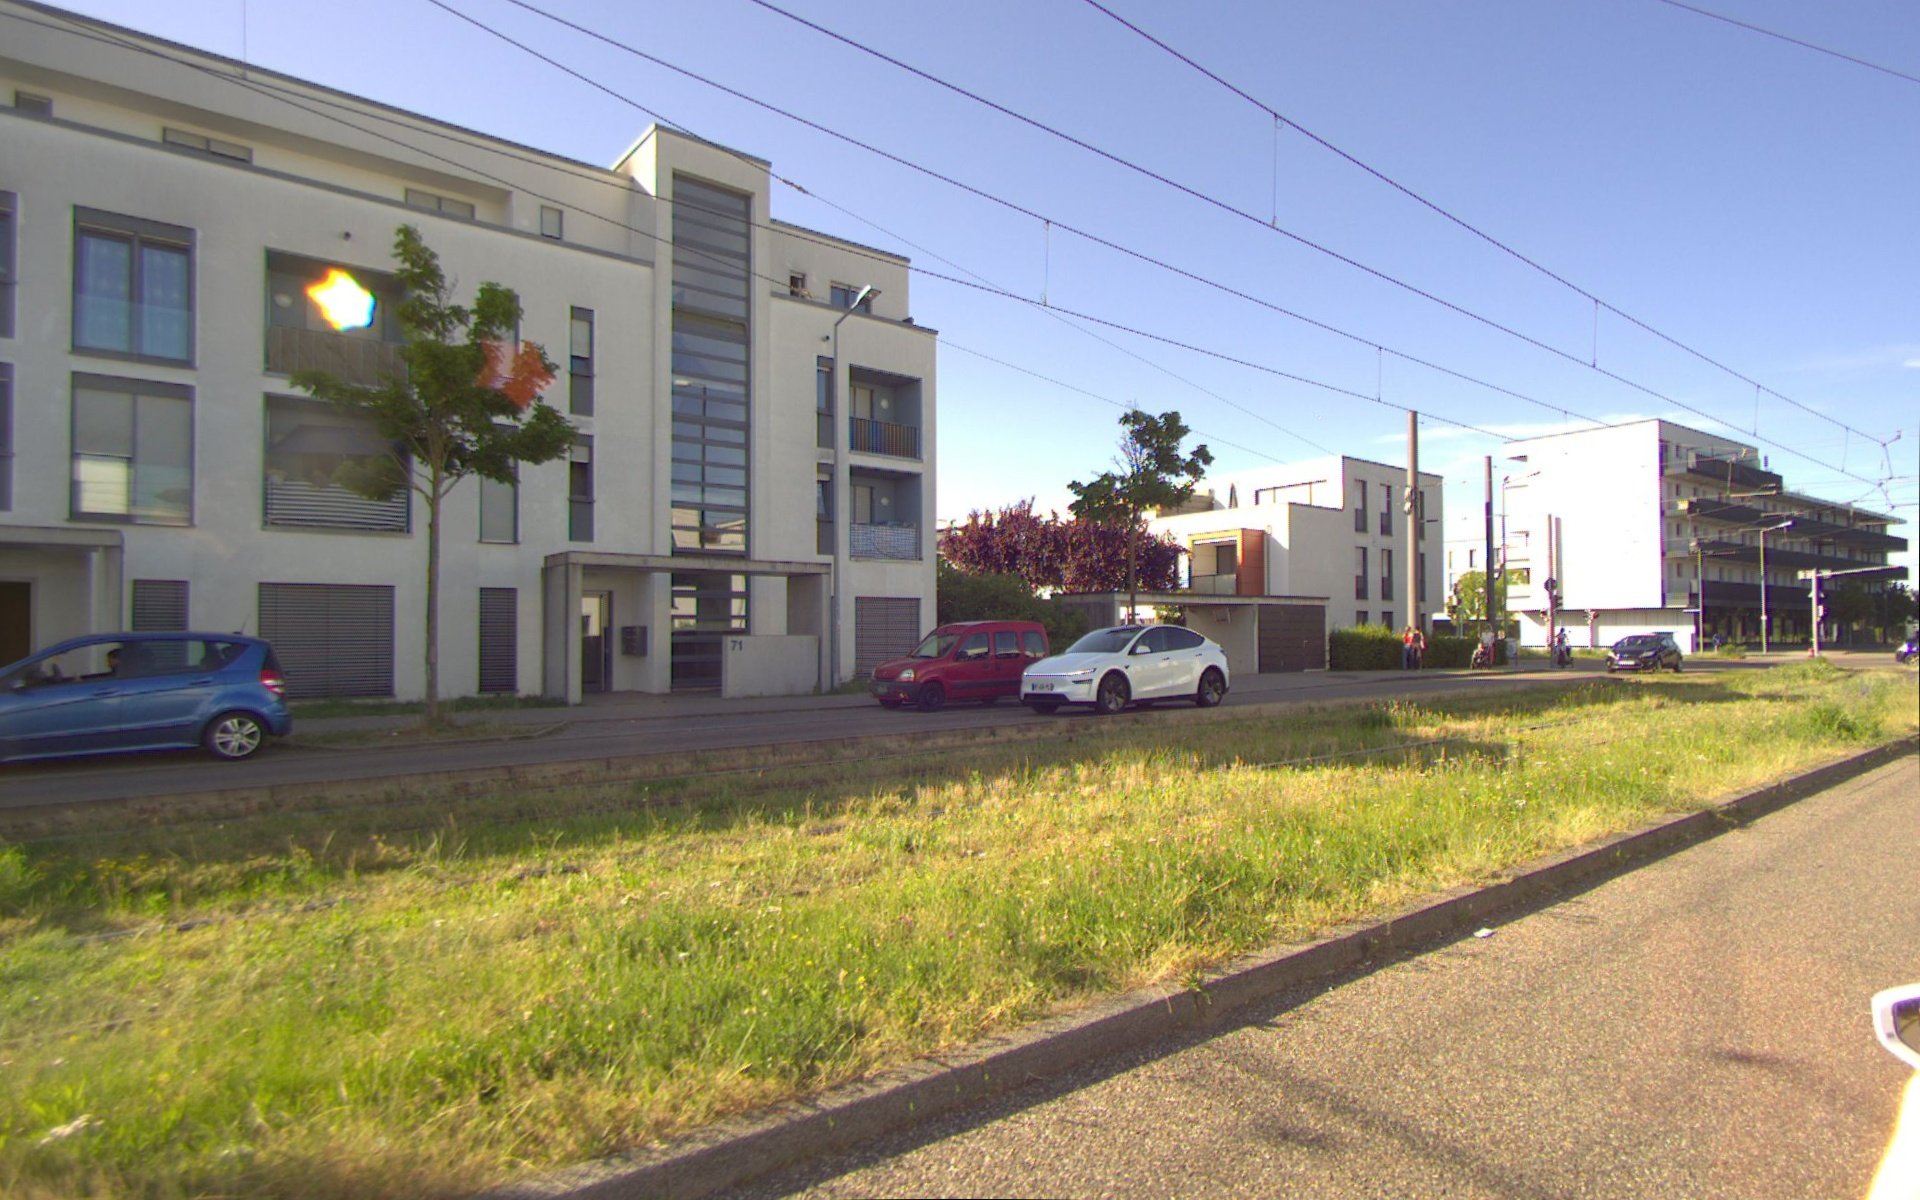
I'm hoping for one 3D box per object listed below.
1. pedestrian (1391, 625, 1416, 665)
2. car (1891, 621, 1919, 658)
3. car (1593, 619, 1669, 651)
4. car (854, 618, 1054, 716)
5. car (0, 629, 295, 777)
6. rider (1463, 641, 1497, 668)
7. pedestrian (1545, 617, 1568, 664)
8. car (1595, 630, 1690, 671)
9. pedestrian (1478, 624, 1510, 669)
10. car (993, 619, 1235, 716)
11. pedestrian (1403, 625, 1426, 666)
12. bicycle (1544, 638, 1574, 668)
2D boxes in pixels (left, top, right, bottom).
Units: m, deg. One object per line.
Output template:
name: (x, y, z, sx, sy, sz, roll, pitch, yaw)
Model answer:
pedestrian: (16.836, 1.692, 38.115, 0.735, 1.483, 0.553, 1, 0, -36)
car: (39.252, 1.492, 39.332, 1.685, 1.449, 3.720, -1, -3, -23)
car: (45.242, 2.378, 67.824, 3.925, 2.040, 1.999, -2, -2, 25)
car: (-0.084, 1.287, 20.710, 3.802, 1.819, 1.867, 1, 0, -37)
car: (-10.349, 1.155, 12.081, 3.808, 1.557, 1.810, 1, 0, -38)
rider: (20.543, 2.151, 39.676, 1.033, 1.016, 0.773, 1, 0, -33)
pedestrian: (26.103, 1.774, 43.971, 0.752, 2.040, 0.666, 0, 0, 39)
car: (25.803, 1.904, 37.936, 3.963, 1.437, 1.775, 1, -3, -37)
pedestrian: (21.382, 1.846, 40.202, 0.899, 1.771, 0.811, 1, 0, -33)
car: (3.001, 1.224, 19.054, 4.609, 1.616, 1.978, 1, -4, -40)
pedestrian: (16.959, 1.688, 37.512, 0.606, 1.483, 0.553, 1, 0, -36)
bicycle: (26.601, 2.320, 44.582, 0.784, 1.238, 2.690, 0, 0, 39)
